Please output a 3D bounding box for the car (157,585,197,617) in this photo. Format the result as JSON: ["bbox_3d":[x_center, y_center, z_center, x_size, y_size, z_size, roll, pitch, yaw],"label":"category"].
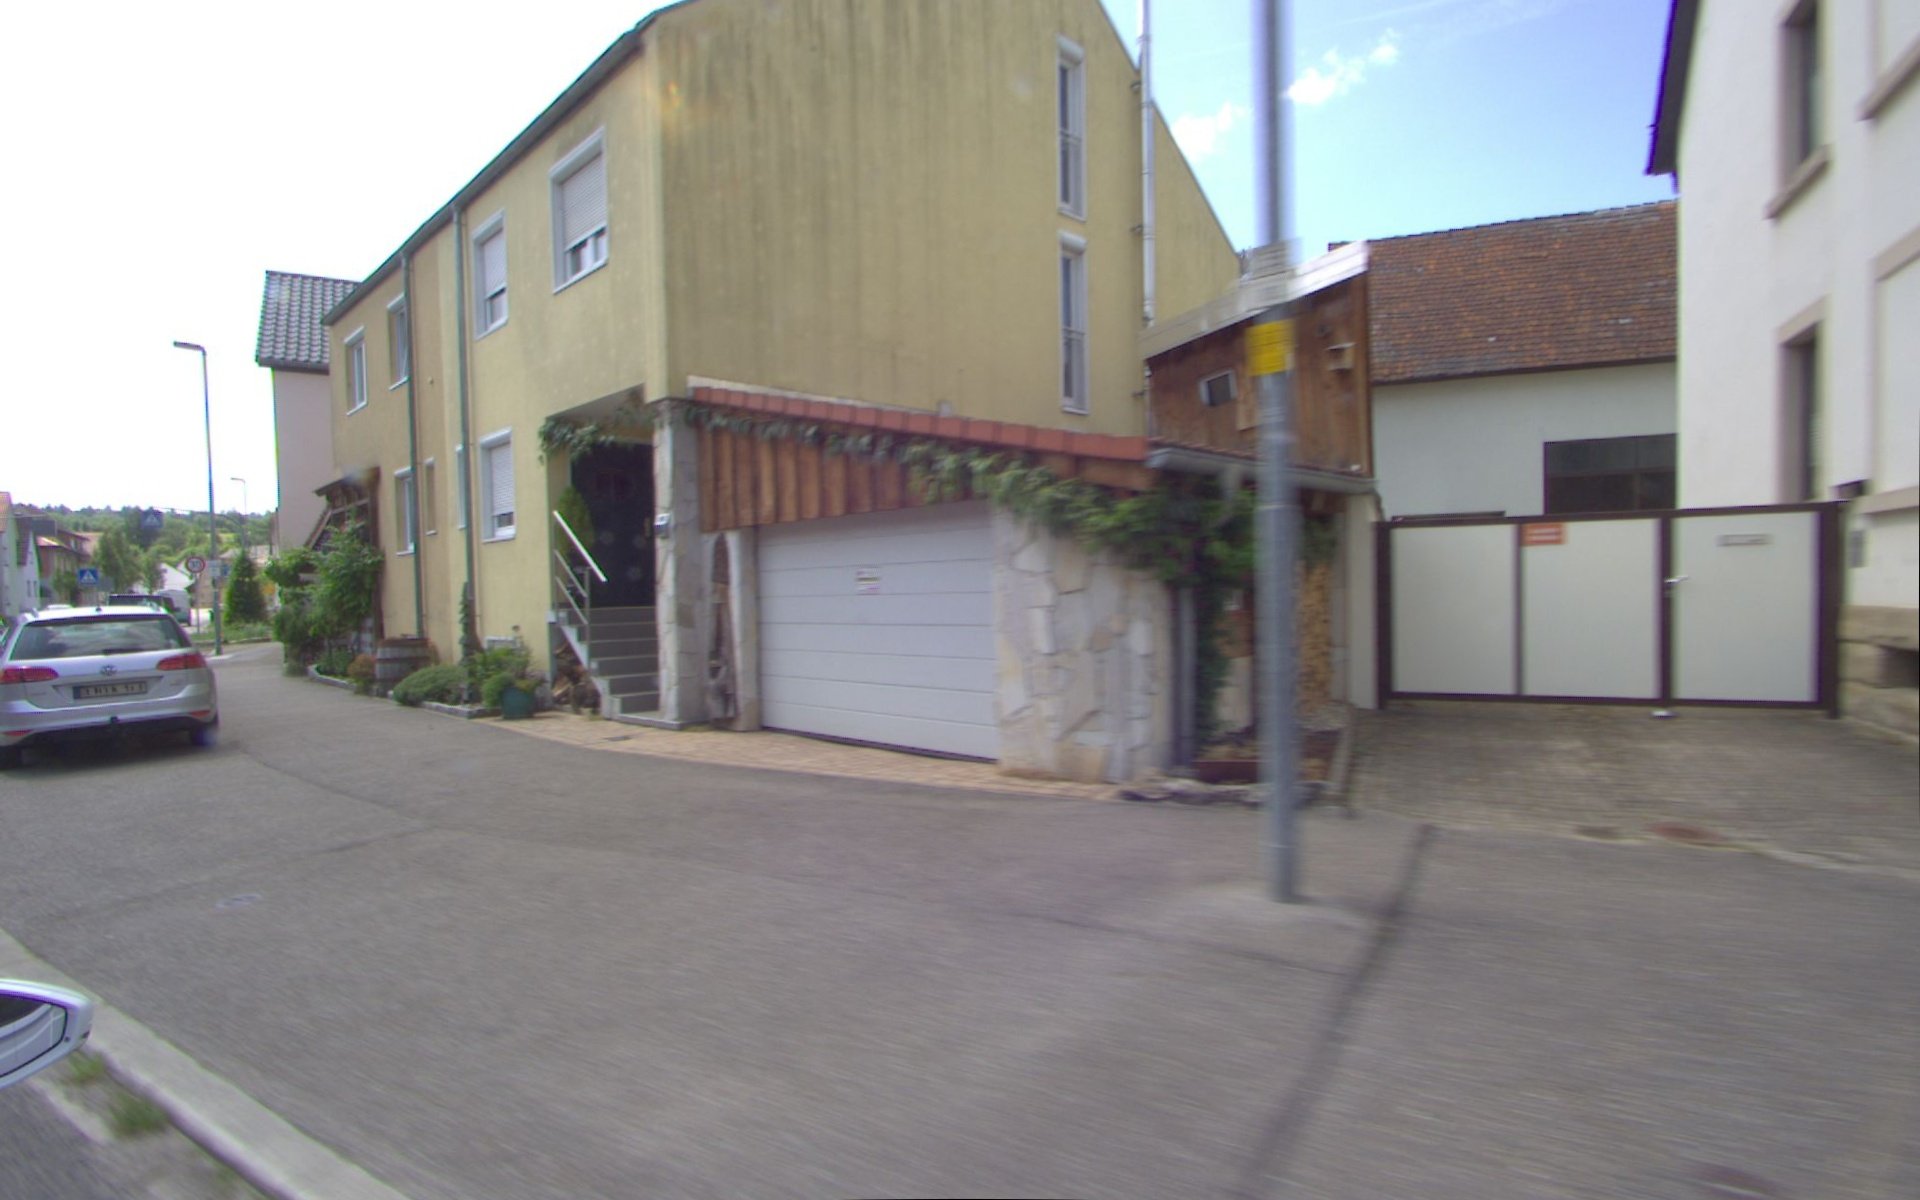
[{"bbox_3d":[-54.596,0.088,69.860,1.975,2.039,3.973,0,-2,-36],"label":"car"}]

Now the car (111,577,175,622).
[{"bbox_3d":[-36.050,0.004,44.289,1.975,1.839,3.972,0,-2,-36],"label":"car"}]

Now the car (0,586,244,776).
[{"bbox_3d":[-9.212,0.713,10.630,4.291,1.551,1.872,-1,3,45],"label":"car"}]

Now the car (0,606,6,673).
[{"bbox_3d":[-22.422,0.902,22.271,1.738,1.434,3.962,0,-2,-44],"label":"car"}]

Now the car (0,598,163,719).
[{"bbox_3d":[-12.934,0.801,14.393,1.758,1.418,4.381,-5,1,-45],"label":"car"}]

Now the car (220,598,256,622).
[{"bbox_3d":[-50.025,0.696,69.451,1.975,1.527,3.974,0,-2,-35],"label":"car"}]

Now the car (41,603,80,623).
[{"bbox_3d":[-64.636,0.950,72.035,1.978,1.338,3.678,0,-2,-41],"label":"car"}]

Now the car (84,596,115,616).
[{"bbox_3d":[-72.853,0.513,84.822,1.651,1.616,3.974,0,-2,-35],"label":"car"}]
